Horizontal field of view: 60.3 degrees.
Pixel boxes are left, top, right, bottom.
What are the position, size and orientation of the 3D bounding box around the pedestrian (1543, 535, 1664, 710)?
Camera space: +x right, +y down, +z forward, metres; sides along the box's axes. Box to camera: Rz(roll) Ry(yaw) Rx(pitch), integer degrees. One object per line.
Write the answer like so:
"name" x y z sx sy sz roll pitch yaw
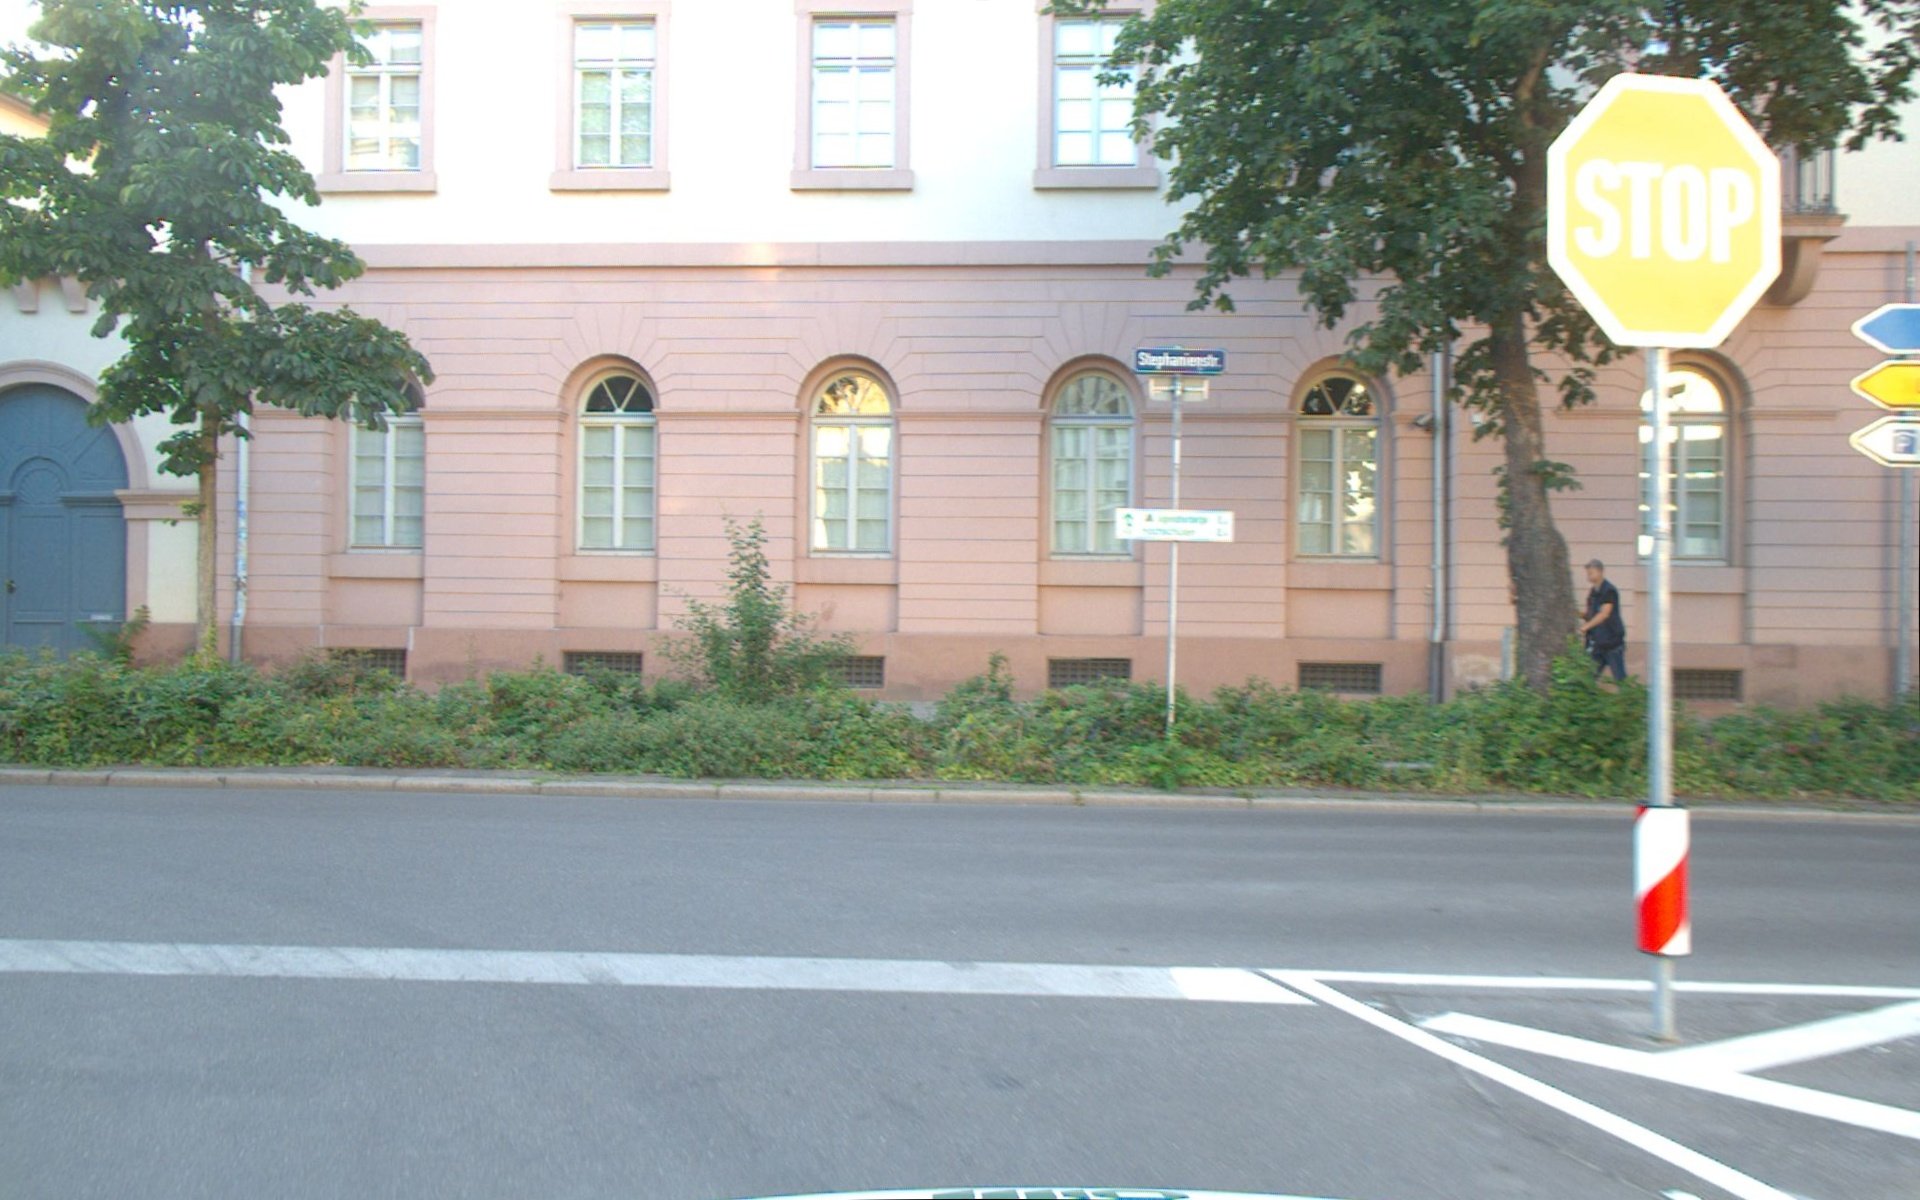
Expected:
"pedestrian" 7.052 0.242 18.169 1.056 1.871 0.801 0 0 5
